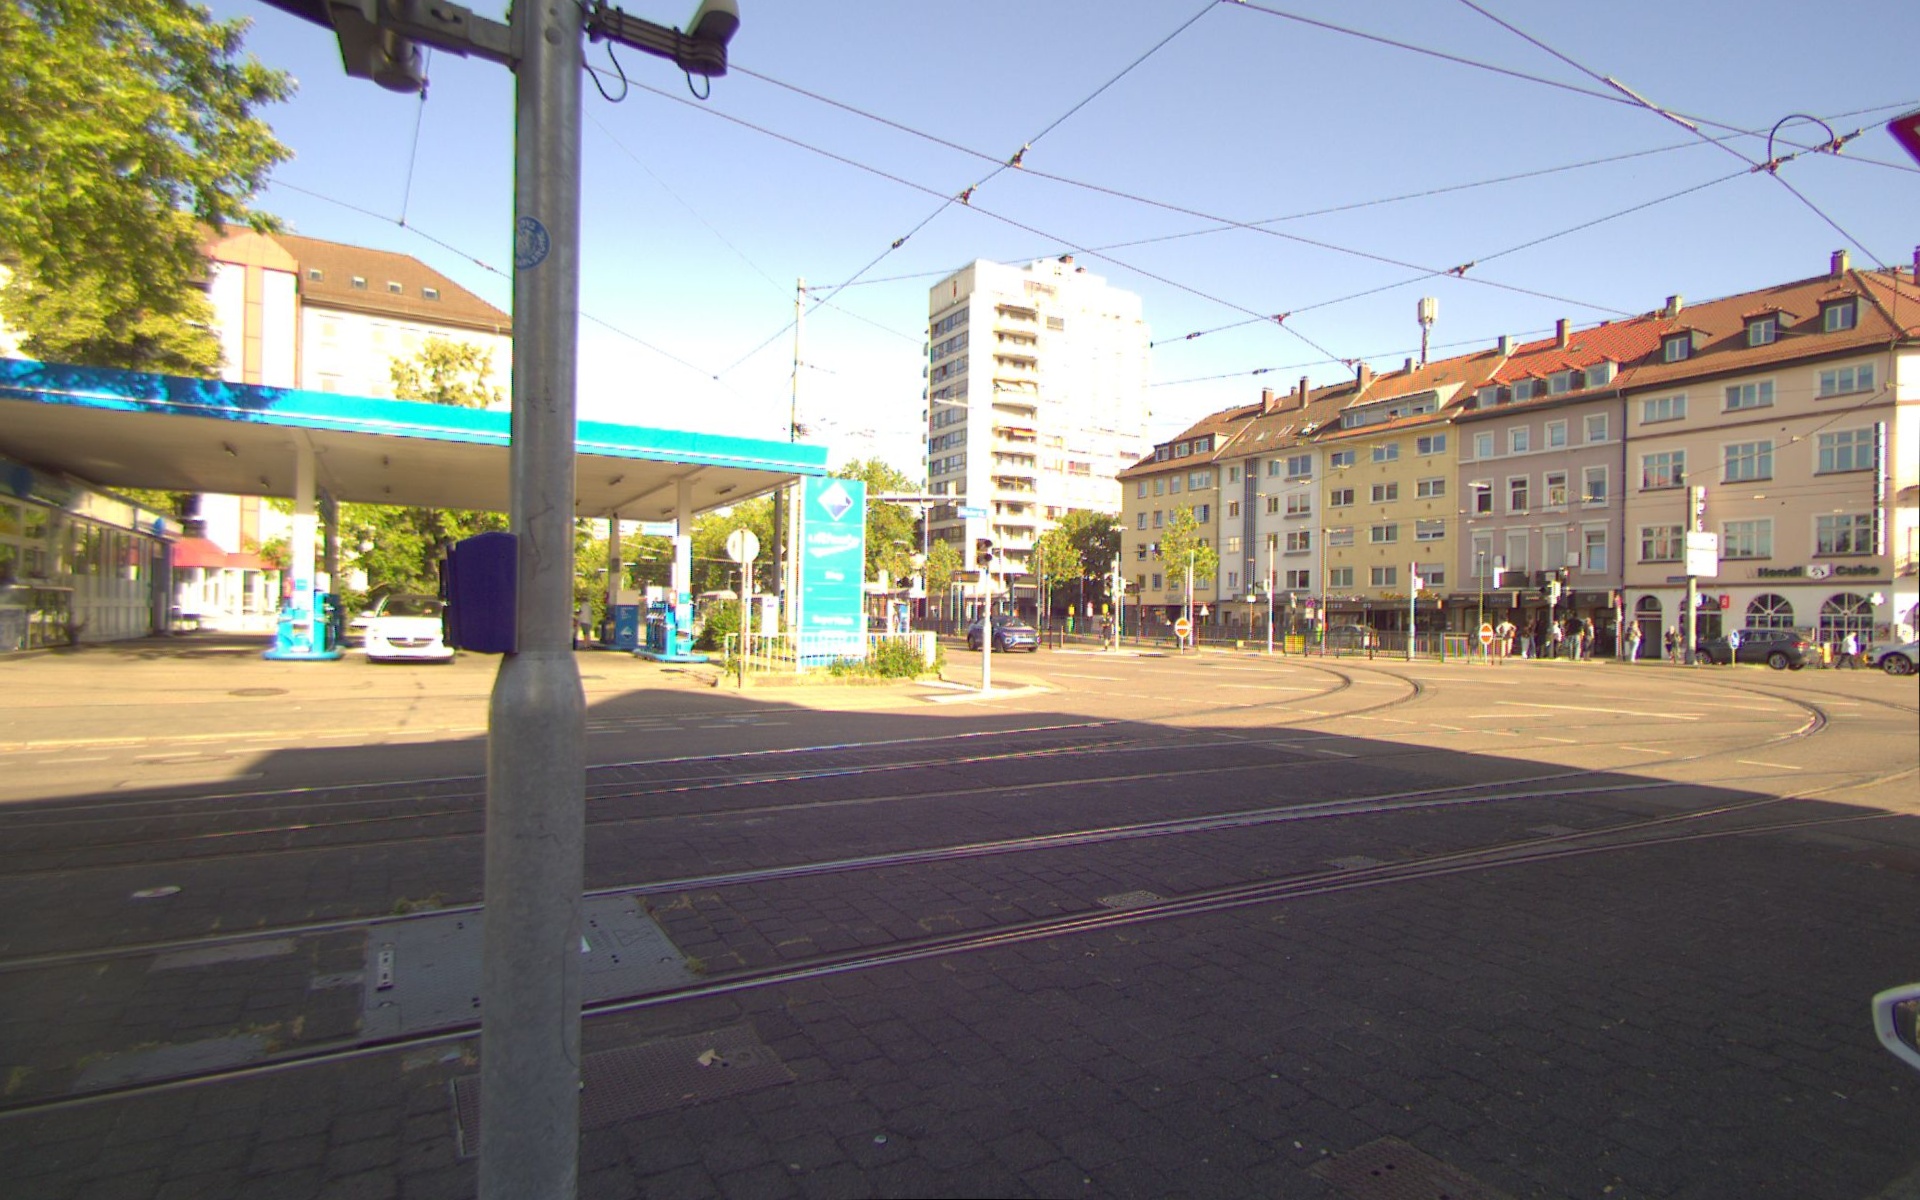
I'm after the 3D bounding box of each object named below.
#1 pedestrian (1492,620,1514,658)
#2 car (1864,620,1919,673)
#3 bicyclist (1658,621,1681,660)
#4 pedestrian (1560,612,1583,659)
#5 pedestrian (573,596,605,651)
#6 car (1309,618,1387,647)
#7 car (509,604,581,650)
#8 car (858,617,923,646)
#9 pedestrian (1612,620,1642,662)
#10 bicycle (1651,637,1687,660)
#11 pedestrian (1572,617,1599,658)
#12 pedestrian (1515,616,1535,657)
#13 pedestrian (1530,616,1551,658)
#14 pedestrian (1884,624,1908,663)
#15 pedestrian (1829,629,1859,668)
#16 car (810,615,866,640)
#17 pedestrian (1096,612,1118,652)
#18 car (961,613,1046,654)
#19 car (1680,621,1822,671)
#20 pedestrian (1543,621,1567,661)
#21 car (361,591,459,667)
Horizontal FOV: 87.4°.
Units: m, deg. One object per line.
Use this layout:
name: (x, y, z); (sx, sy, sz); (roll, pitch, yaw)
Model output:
pedestrian: (23.864, 1.706, 44.116); (0.609, 1.670, 0.581); (2, 0, -30)
car: (33.907, 1.642, 34.008); (1.819, 1.757, 4.642); (2, 0, -36)
bicyclist: (34.011, 1.940, 48.140); (0.606, 1.814, 0.619); (2, 0, -25)
pedestrian: (24.683, 1.427, 40.546); (0.669, 1.847, 0.524); (2, 0, -30)
pedestrian: (-11.859, 0.751, 32.079); (0.838, 1.724, 0.644); (2, -3, -31)
car: (21.313, 1.764, 55.347); (1.680, 1.421, 3.769); (2, 0, -31)
car: (-13.523, 0.854, 32.645); (1.659, 1.372, 3.559); (2, 0, -31)
car: (-3.693, 1.623, 52.780); (1.811, 1.422, 3.965); (1, -1, -32)
pedestrian: (26.326, 1.602, 39.663); (0.805, 1.615, 0.665); (2, 0, -30)
bicycle: (33.980, 2.329, 48.132); (1.731, 1.044, 0.619); (2, 0, -25)
pedestrian: (25.591, 1.538, 41.080); (0.831, 1.670, 0.579); (2, 0, -30)
pedestrian: (23.473, 1.508, 41.745); (0.492, 1.670, 0.520); (2, 0, -30)
pedestrian: (23.773, 1.514, 41.135); (0.492, 1.670, 0.520); (2, 0, -30)
pedestrian: (41.233, 1.924, 44.261); (0.488, 1.698, 0.589); (2, 0, 4)
pedestrian: (38.522, 2.103, 43.792); (0.778, 1.664, 0.569); (2, 0, -6)
car: (-7.364, 1.633, 60.410); (1.877, 1.473, 3.973); (1, -1, -32)
pedestrian: (6.088, 1.319, 41.703); (0.751, 1.631, 0.612); (2, 0, -6)
car: (1.788, 1.392, 42.610); (1.807, 1.596, 4.171); (1, 0, -26)
car: (32.491, 1.848, 41.369); (1.797, 1.797, 4.208); (2, 0, -30)
pedestrian: (25.125, 1.743, 42.427); (0.719, 1.670, 0.570); (2, 0, -30)
car: (-12.221, 0.588, 22.354); (1.723, 1.455, 3.905); (2, 1, -29)
